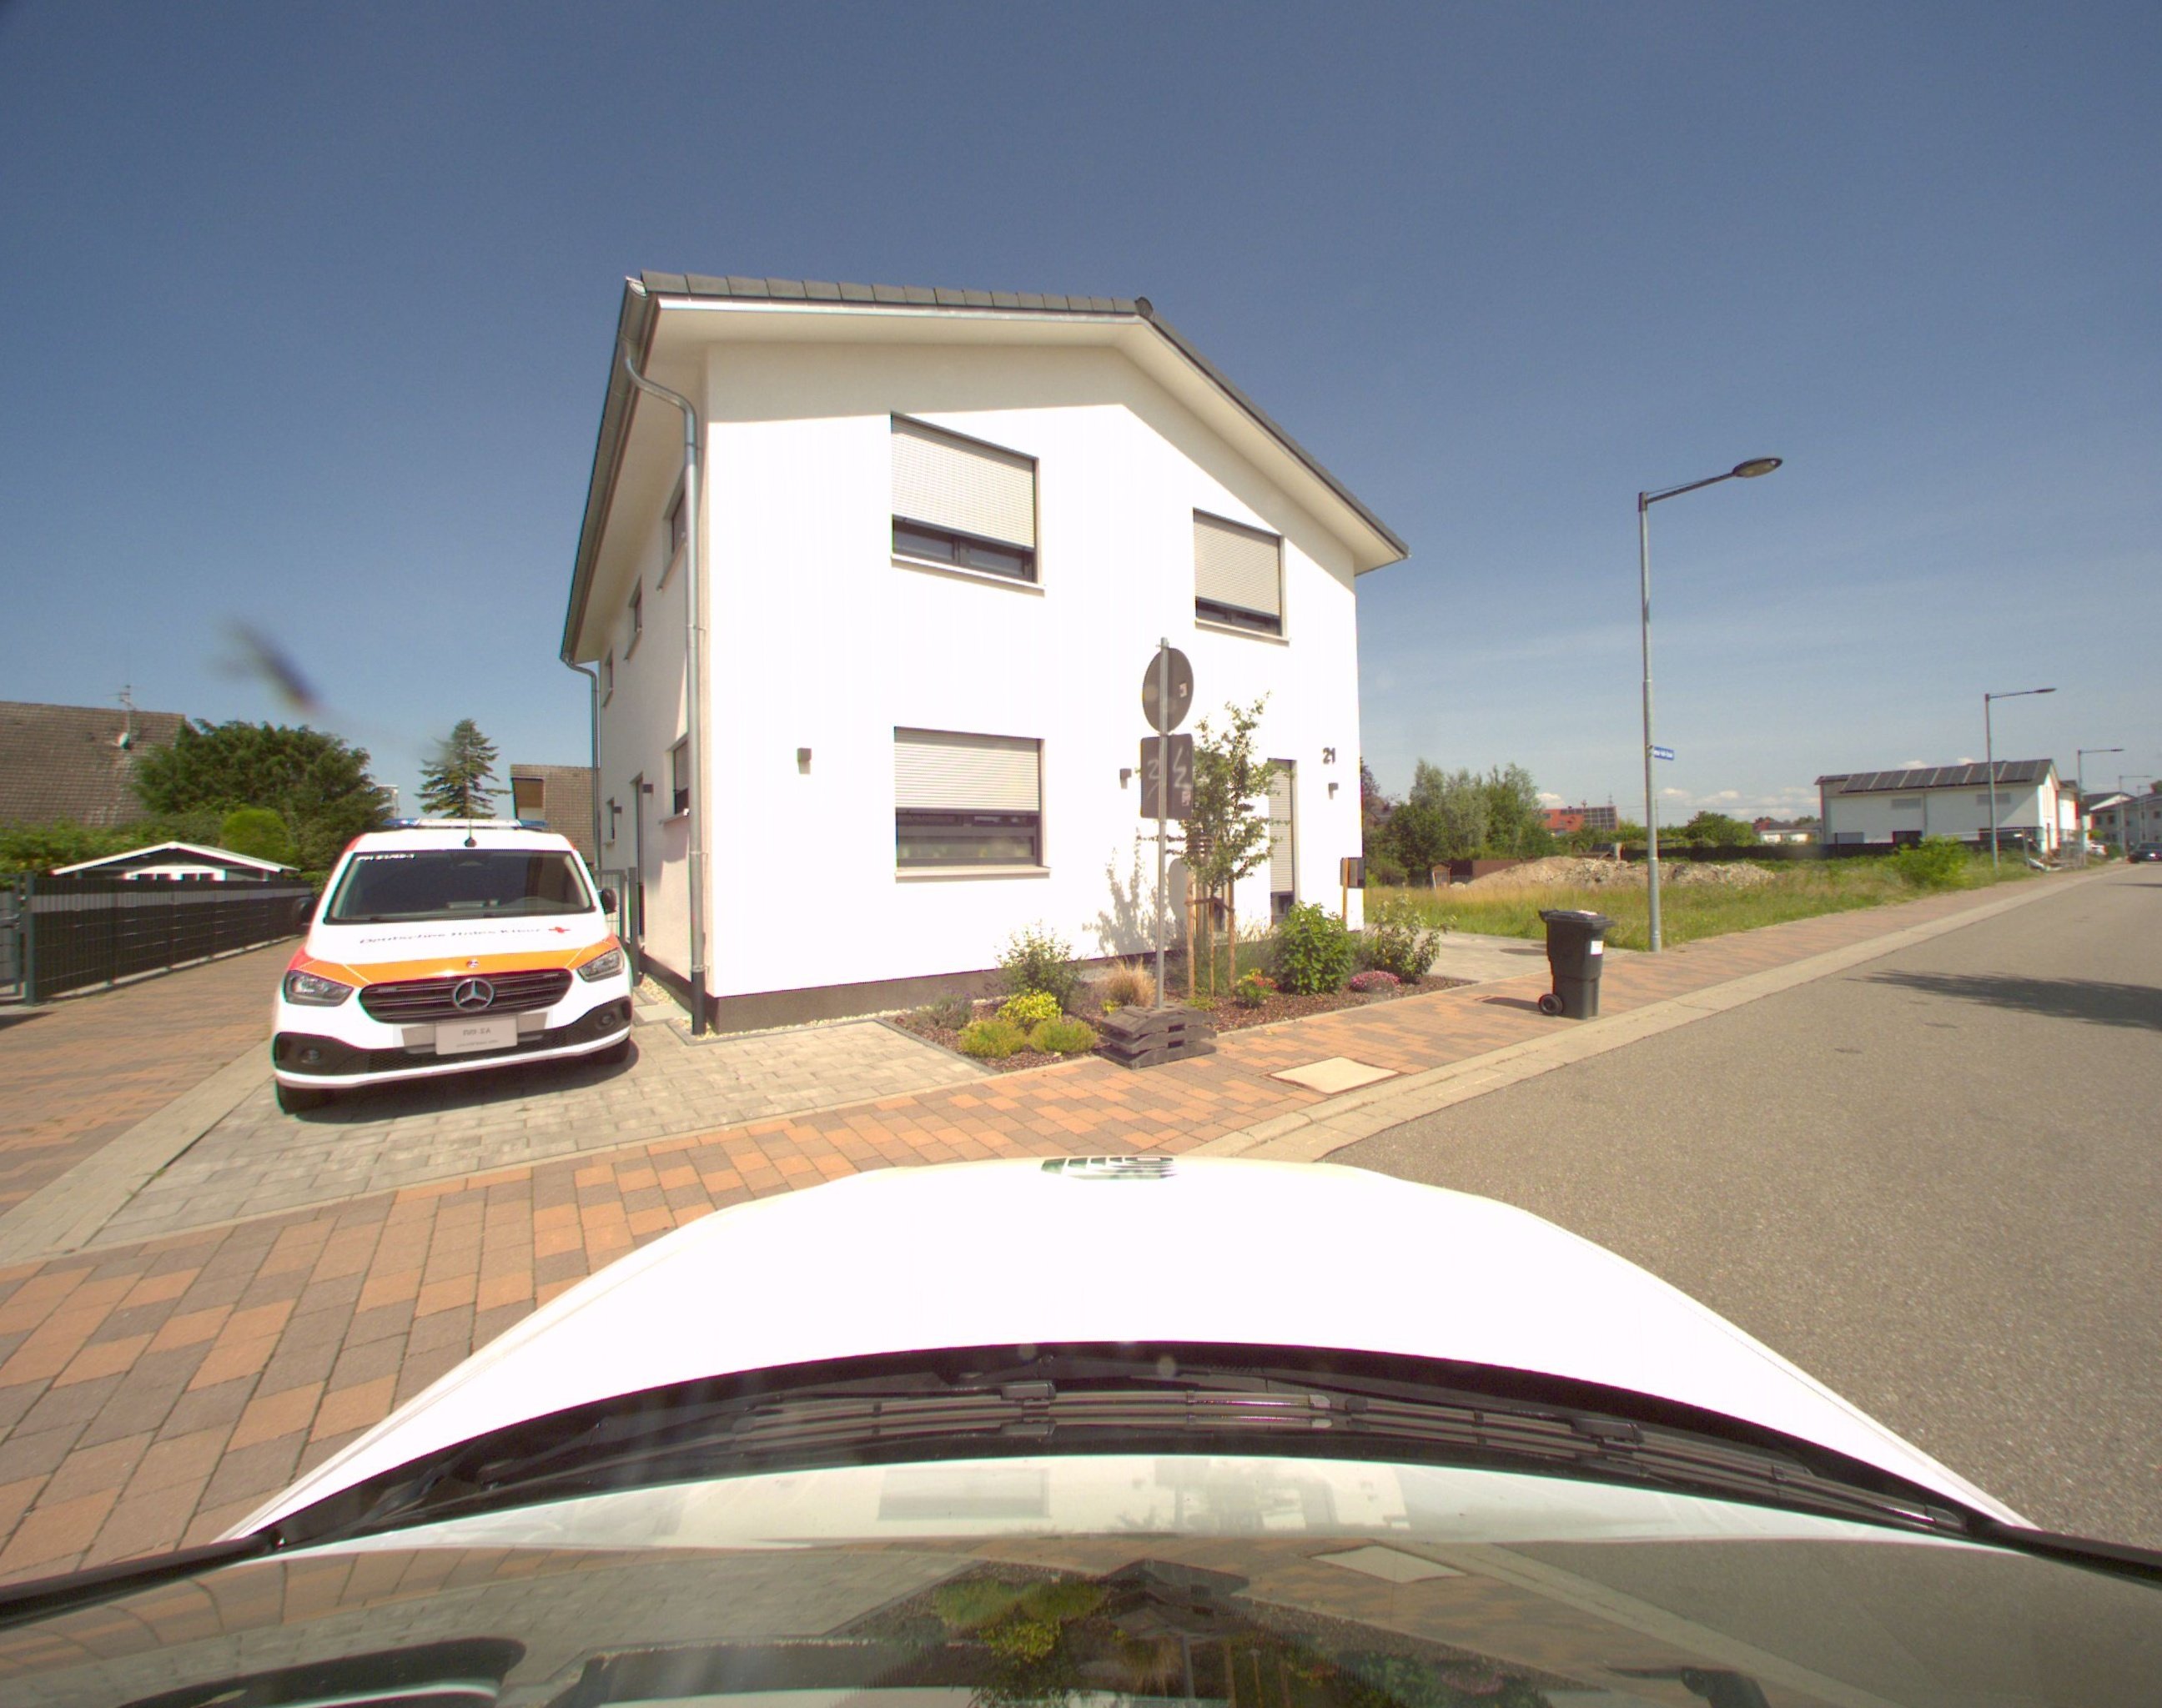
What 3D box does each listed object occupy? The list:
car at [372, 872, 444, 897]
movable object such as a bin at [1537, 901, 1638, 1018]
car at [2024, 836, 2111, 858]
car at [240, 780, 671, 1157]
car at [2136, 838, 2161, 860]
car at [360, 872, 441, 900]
[{"bbox_3d":[-51.701,2.303,62.692,4.180,1.717,1.884,-1,-1,-38],"label":"car"},{"bbox_3d":[4.474,0.904,7.205,0.502,0.948,0.618,1,-2,-39],"label":"movable object such as a bin"},{"bbox_3d":[76.578,-0.546,63.287,1.789,1.581,4.044,-2,1,-29],"label":"car"},{"bbox_3d":[-4.840,0.621,6.532,1.947,1.875,4.698,-1,-1,-37],"label":"car"},{"bbox_3d":[70.667,-0.344,53.353,4.177,1.405,1.732,-1,2,-35],"label":"car"},{"bbox_3d":[-46.552,2.157,55.808,4.180,1.717,1.884,-1,-1,-38],"label":"car"}]
